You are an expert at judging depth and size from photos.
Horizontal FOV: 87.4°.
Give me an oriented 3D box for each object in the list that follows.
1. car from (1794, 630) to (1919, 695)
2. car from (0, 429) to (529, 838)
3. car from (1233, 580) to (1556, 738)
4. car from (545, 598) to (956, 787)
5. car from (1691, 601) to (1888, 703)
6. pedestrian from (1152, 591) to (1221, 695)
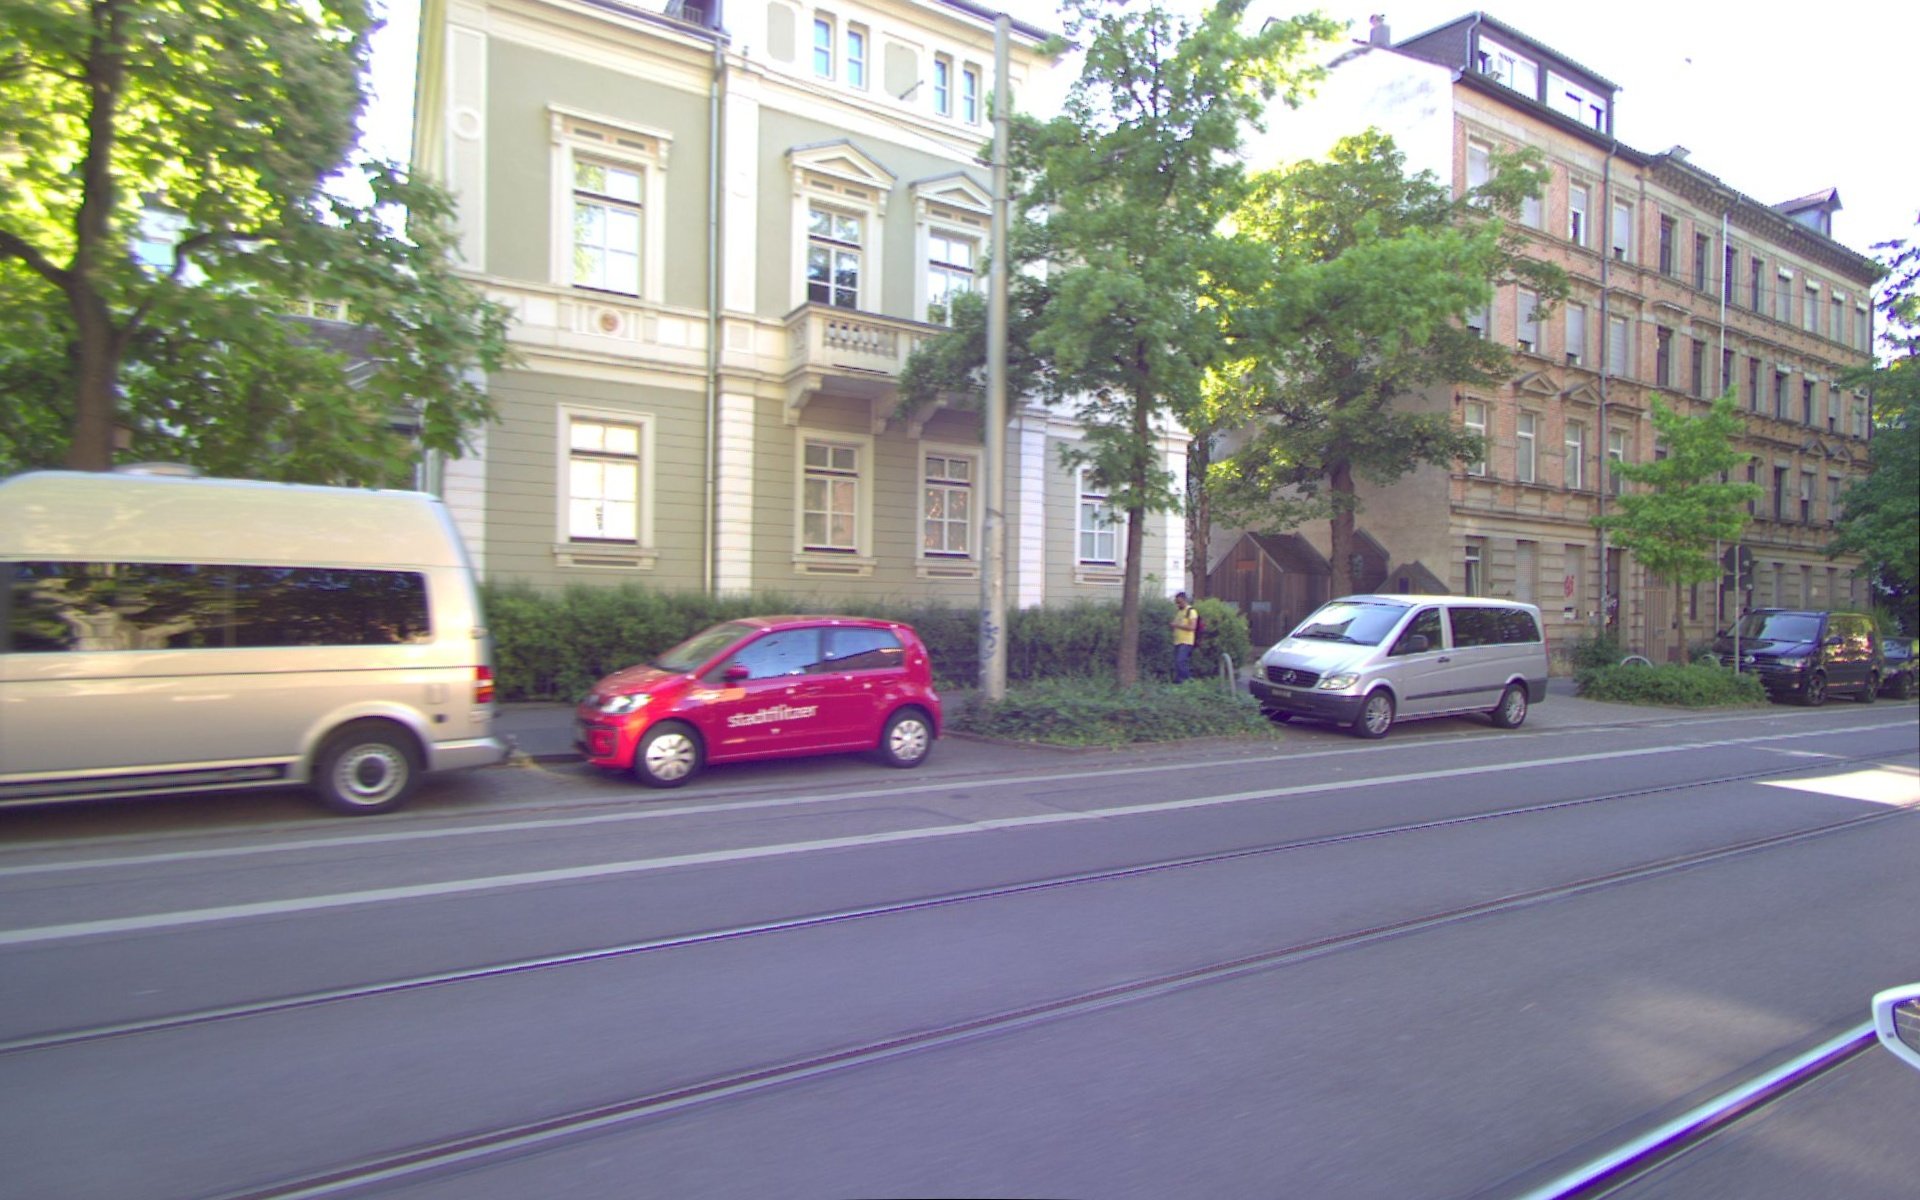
[{"bbox_3d":[22.775,1.503,25.051,4.223,1.478,1.843,1,-1,-32],"label":"car"},{"bbox_3d":[-6.229,0.221,7.428,5.285,2.541,2.291,1,-1,-33],"label":"car"},{"bbox_3d":[6.502,0.809,14.876,4.929,2.015,1.835,1,-1,-30],"label":"car"},{"bbox_3d":[-2.032,0.803,10.002,3.666,1.560,1.676,1,-1,-32],"label":"car"},{"bbox_3d":[18.464,1.096,22.310,4.781,2.040,1.983,1,-1,-32],"label":"car"},{"bbox_3d":[3.785,0.704,16.792,0.936,1.684,0.602,1,1,-30],"label":"pedestrian"}]
